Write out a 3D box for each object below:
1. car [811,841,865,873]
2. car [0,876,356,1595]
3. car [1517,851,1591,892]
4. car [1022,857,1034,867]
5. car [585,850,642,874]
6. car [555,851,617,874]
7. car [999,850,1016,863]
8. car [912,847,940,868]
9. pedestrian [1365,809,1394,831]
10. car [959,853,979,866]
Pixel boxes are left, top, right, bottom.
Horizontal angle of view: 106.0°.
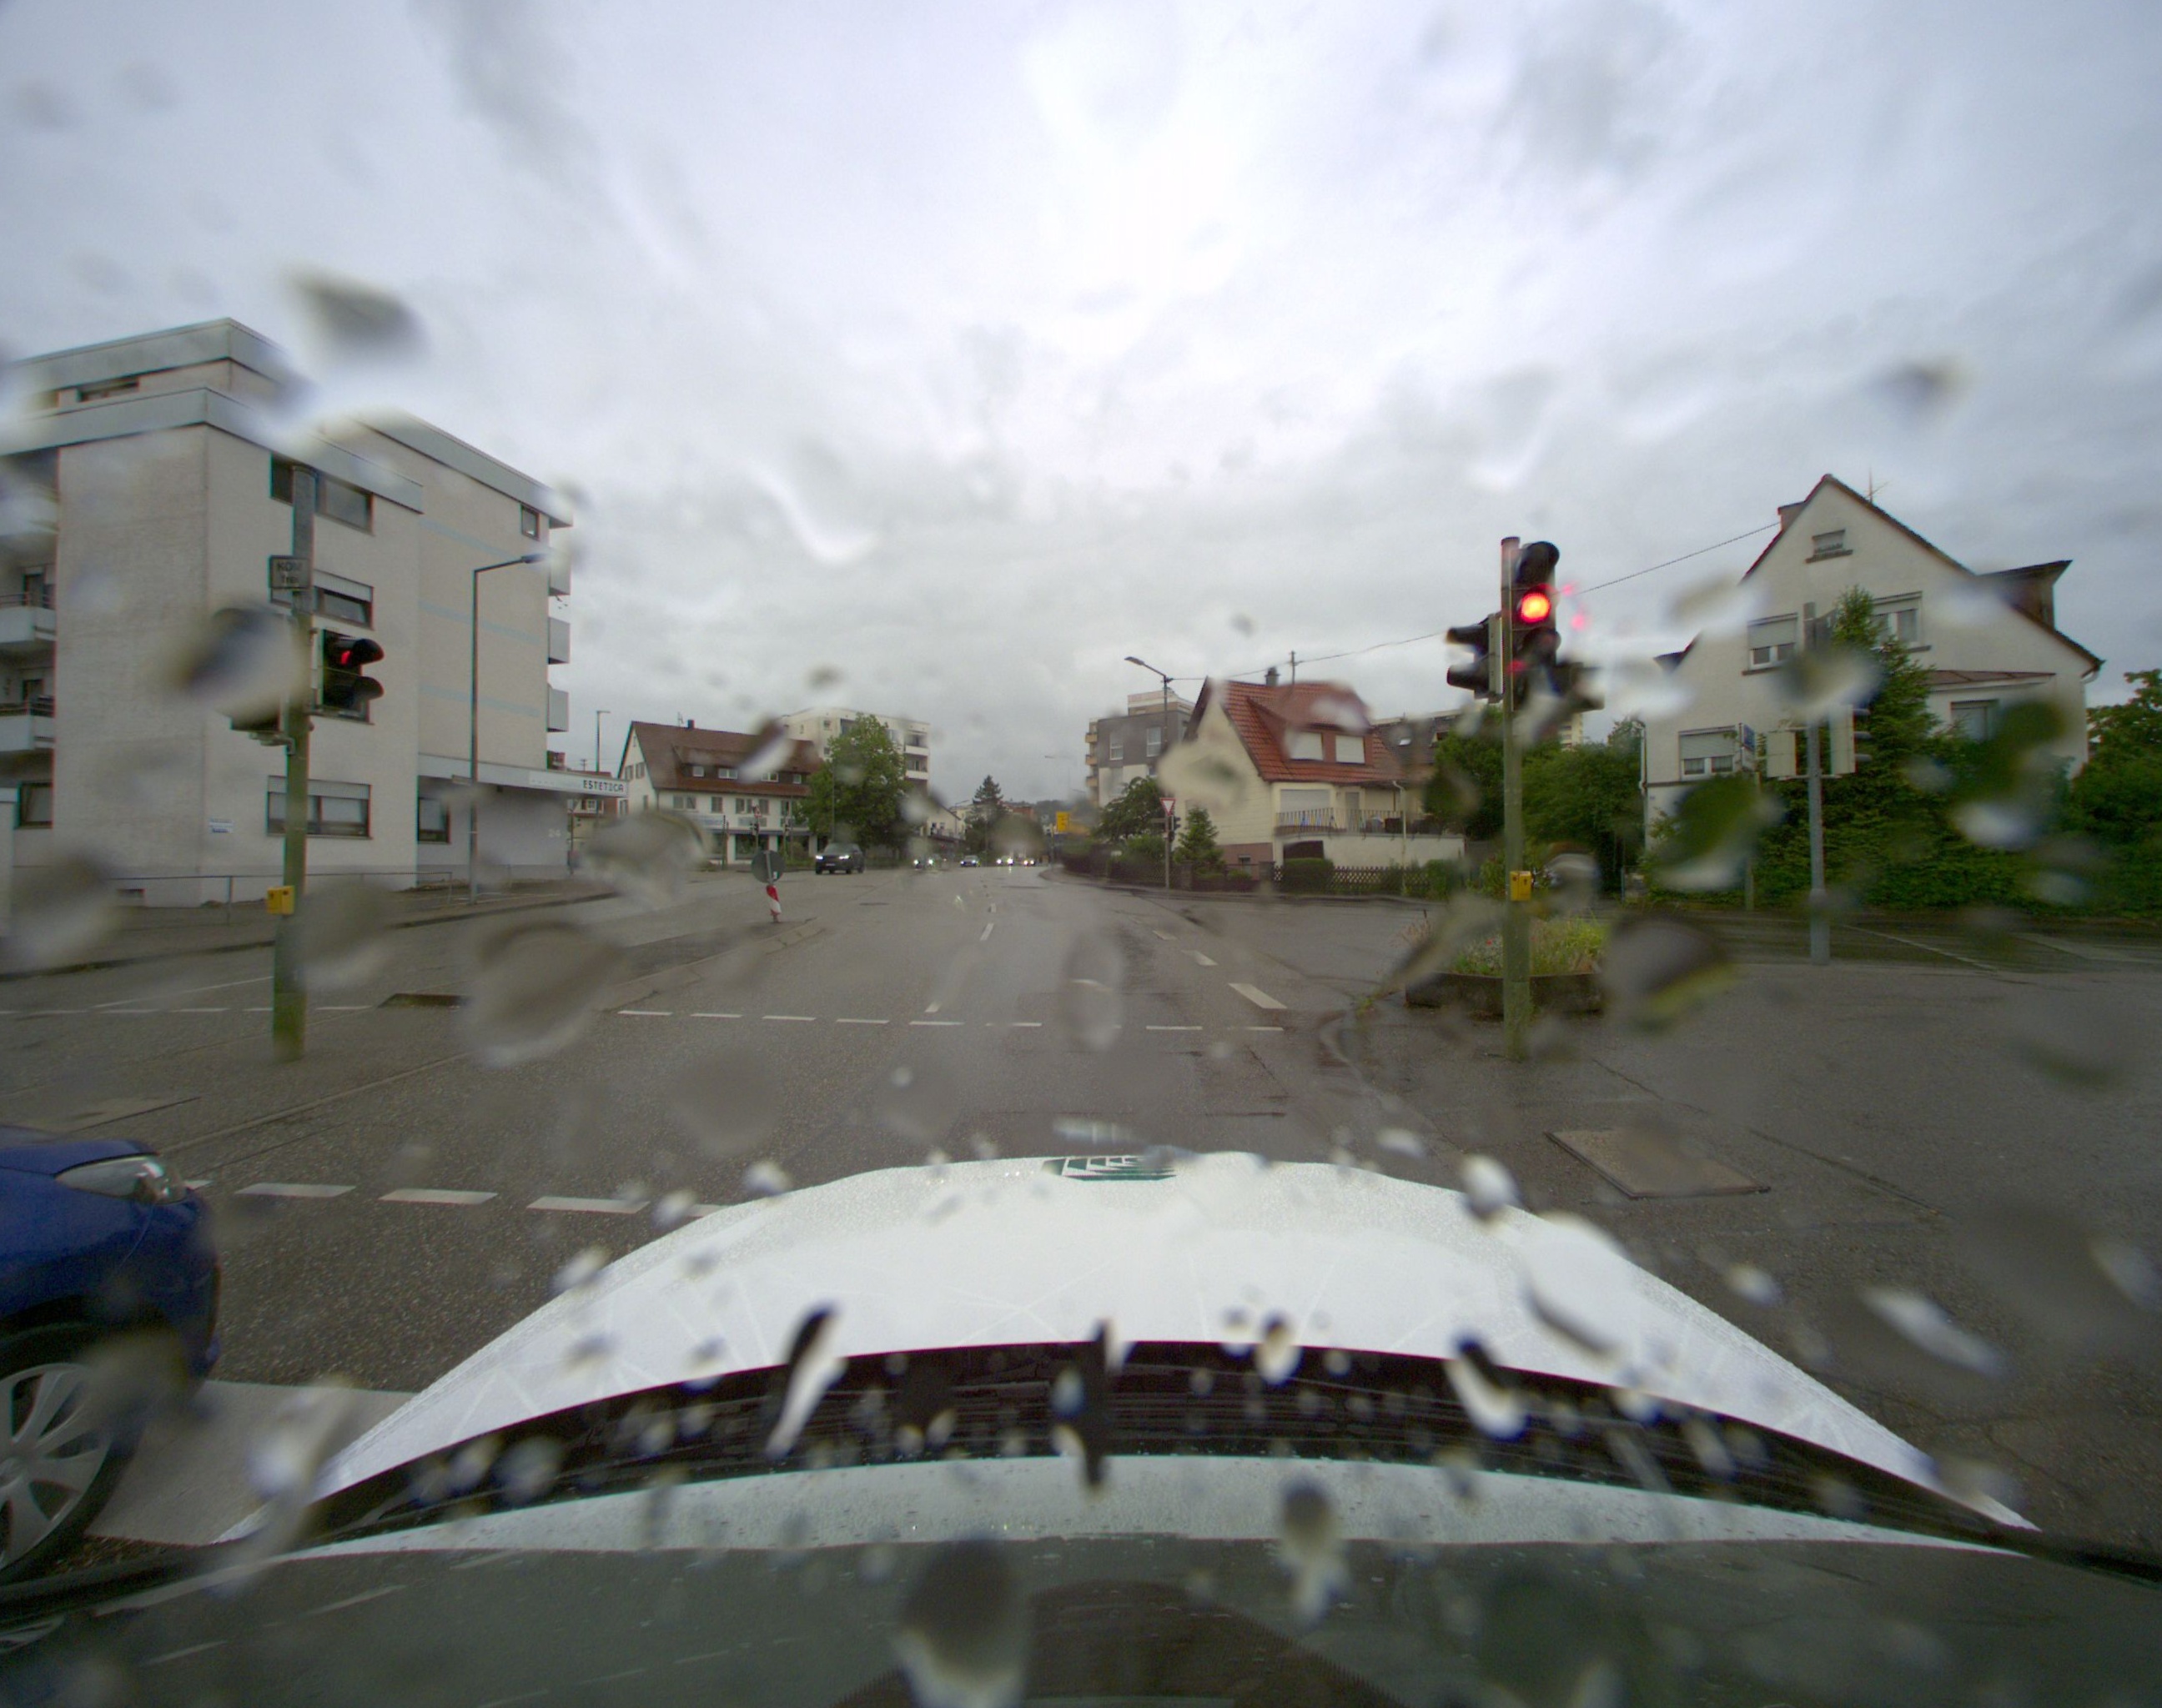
[{"bbox_3d":[-14.278,0.192,48.225,1.990,1.737,5.173,0,0,-4],"label":"car"},{"bbox_3d":[-2.942,0.783,0.728,1.499,1.413,3.365,0,0,2],"label":"car"},{"bbox_3d":[17.118,0.597,29.375,1.794,1.362,4.025,-1,-1,37],"label":"car"},{"bbox_3d":[-9.265,1.364,142.444,1.989,1.812,3.996,0,-1,-3],"label":"car"},{"bbox_3d":[-38.439,0.635,66.978,3.706,1.920,1.864,0,-1,-44],"label":"car"},{"bbox_3d":[-41.212,0.674,67.800,4.093,1.843,1.864,0,-1,-44],"label":"car"},{"bbox_3d":[-9.566,0.297,106.546,1.989,1.679,3.996,0,-1,-3],"label":"car"},{"bbox_3d":[-14.251,0.321,75.007,1.989,1.904,3.996,0,-1,-3],"label":"car"},{"bbox_3d":[12.777,-1.434,34.860,0.918,0.883,0.632,0,-3,-18],"label":"pedestrian"},{"bbox_3d":[-13.234,0.627,96.318,1.989,1.463,3.996,0,0,-3],"label":"car"}]
